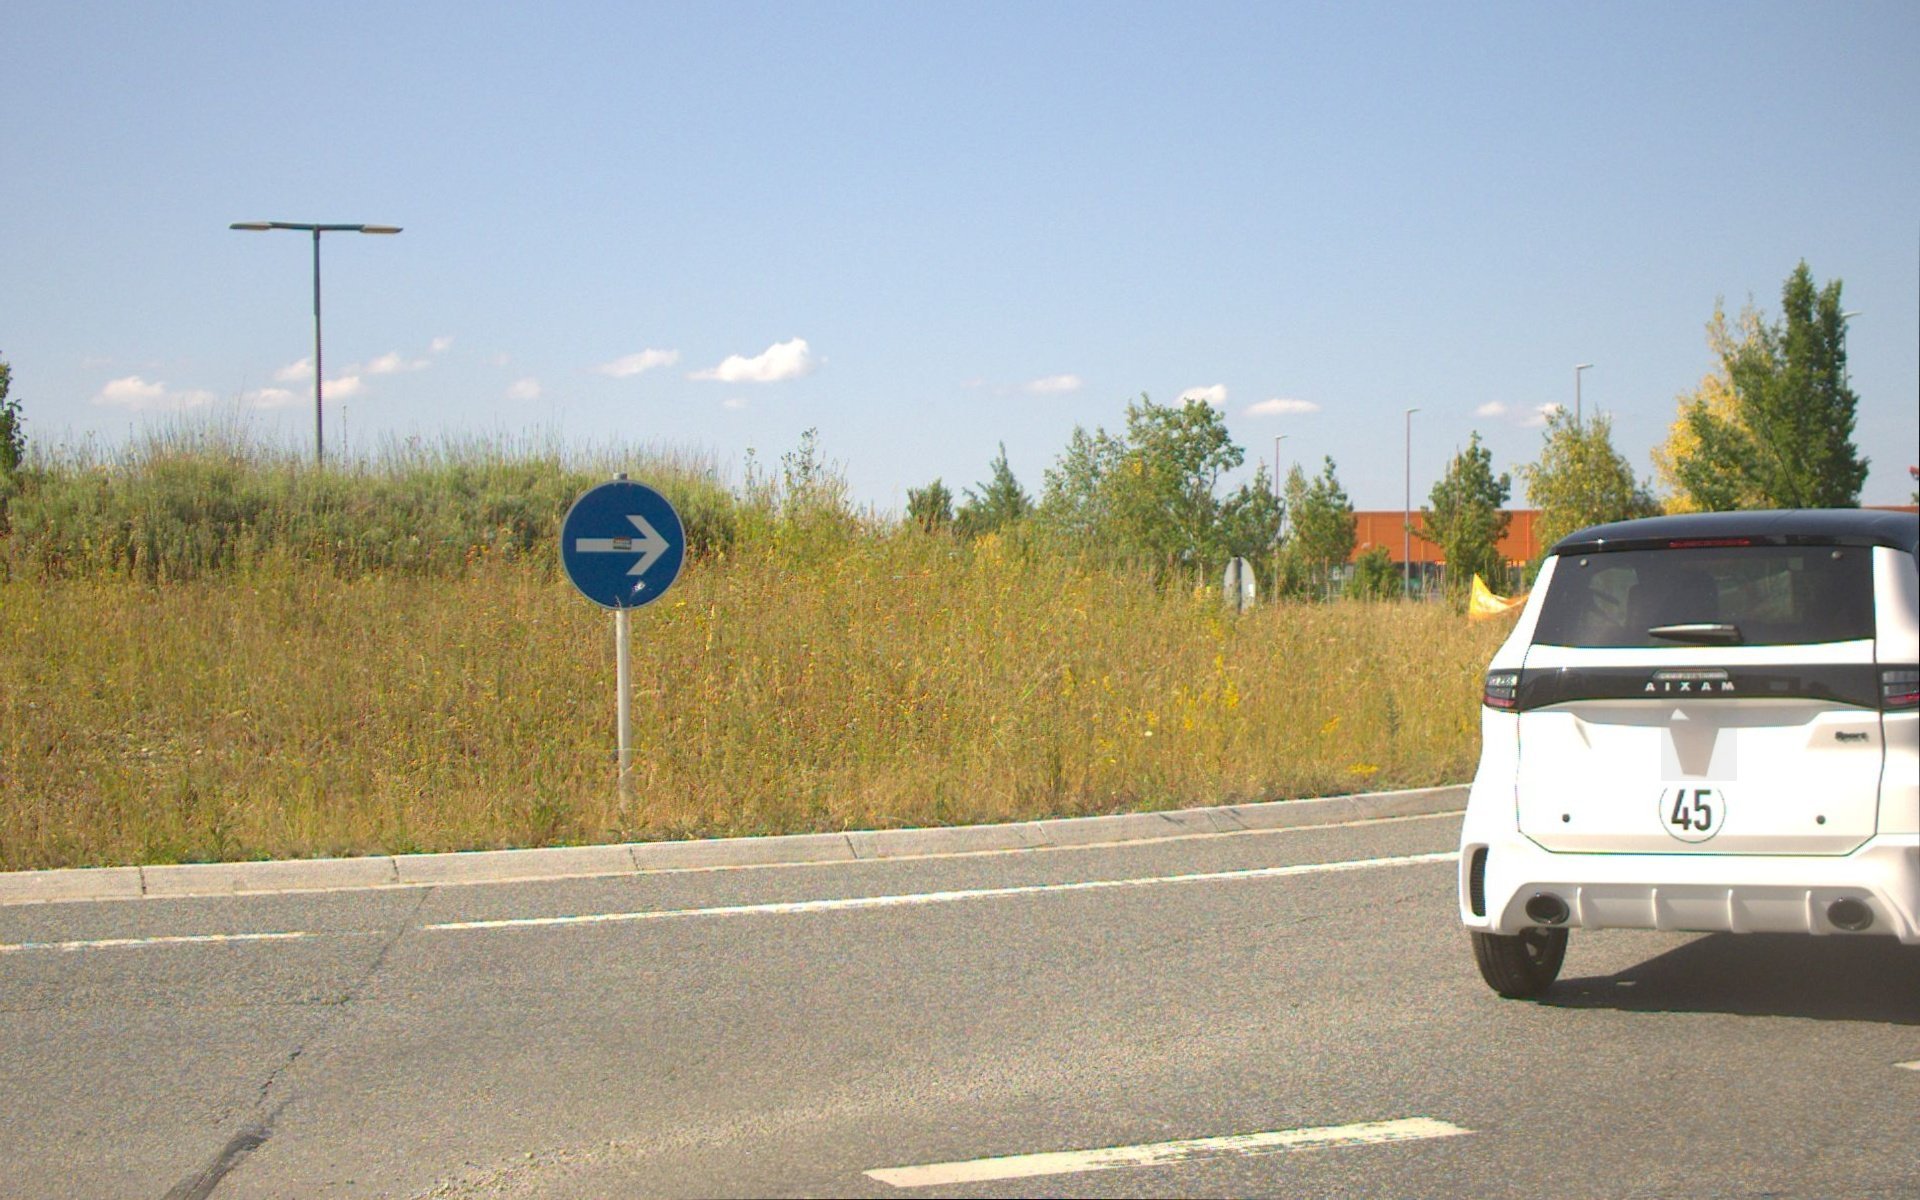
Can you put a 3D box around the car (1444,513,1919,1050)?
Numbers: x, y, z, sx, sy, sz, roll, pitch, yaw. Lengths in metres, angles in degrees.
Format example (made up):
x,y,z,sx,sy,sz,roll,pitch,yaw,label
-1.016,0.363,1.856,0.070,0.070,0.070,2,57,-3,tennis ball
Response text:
x,y,z,sx,sy,sz,roll,pitch,yaw,label
2.838,0.453,11.149,1.511,1.435,3.346,1,2,27,car
